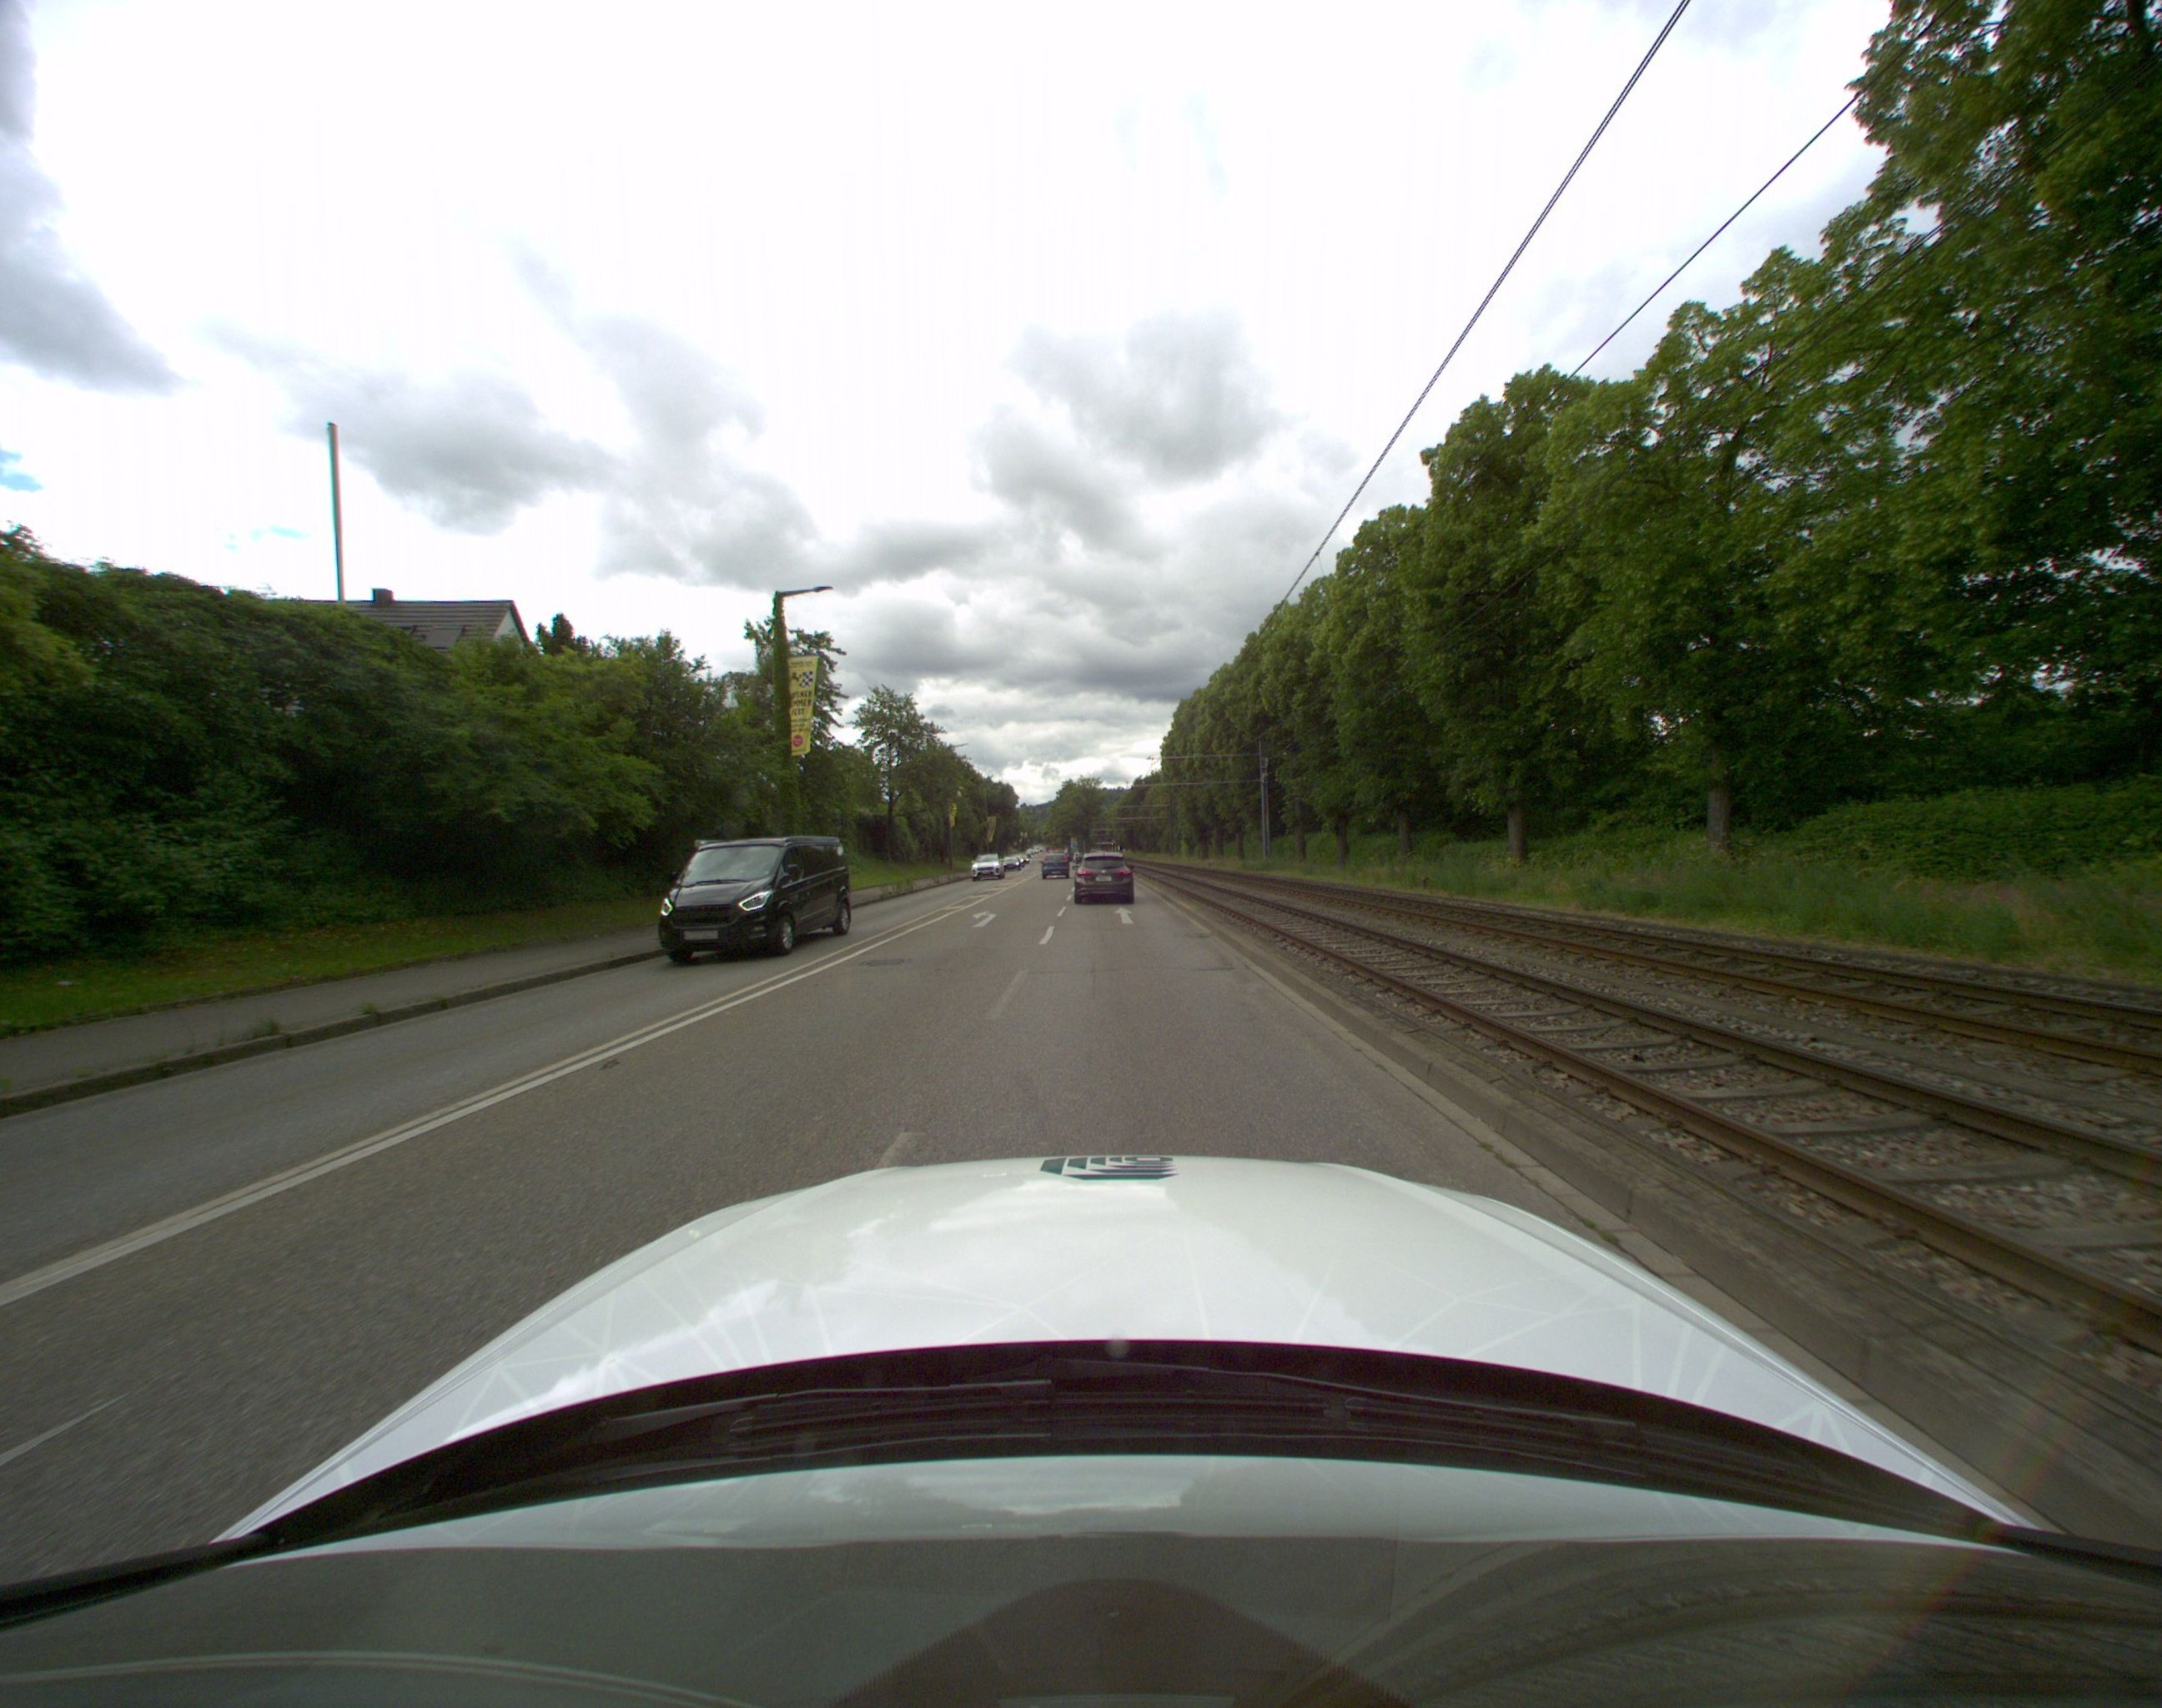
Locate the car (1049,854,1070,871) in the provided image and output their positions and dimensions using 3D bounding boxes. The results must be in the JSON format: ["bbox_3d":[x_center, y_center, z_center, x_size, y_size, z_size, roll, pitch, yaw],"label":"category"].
[{"bbox_3d":[-1.921,0.746,73.245,1.694,1.443,4.000,-1,0,0],"label":"car"}]

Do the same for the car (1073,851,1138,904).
[{"bbox_3d":[0.763,0.677,25.370,1.844,1.493,4.001,-1,0,1],"label":"car"}]

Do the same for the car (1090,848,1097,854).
[{"bbox_3d":[3.416,-0.785,222.265,1.711,1.663,3.704,-1,-1,-2],"label":"car"}]

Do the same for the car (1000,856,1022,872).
[{"bbox_3d":[-6.832,0.928,79.506,1.761,1.400,4.214,-4,0,-1],"label":"car"}]

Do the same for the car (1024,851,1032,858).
[{"bbox_3d":[-13.994,0.179,215.244,1.711,1.760,3.997,-1,-1,-2],"label":"car"}]

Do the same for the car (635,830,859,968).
[{"bbox_3d":[-5.921,0.701,15.301,1.987,2.036,5.114,-4,0,0],"label":"car"}]

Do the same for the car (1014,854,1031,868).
[{"bbox_3d":[-6.931,0.822,96.754,1.821,1.457,4.140,-4,0,-1],"label":"car"}]

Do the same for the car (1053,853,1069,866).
[{"bbox_3d":[-2.293,0.682,95.814,1.710,1.435,3.999,-1,-1,0],"label":"car"}]

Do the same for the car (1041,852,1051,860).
[{"bbox_3d":[-7.059,0.409,165.868,1.693,1.714,4.002,-1,0,2],"label":"car"}]

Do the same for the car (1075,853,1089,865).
[{"bbox_3d":[0.139,0.655,108.669,1.710,1.550,3.999,-1,-1,0],"label":"car"}]

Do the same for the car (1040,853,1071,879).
[{"bbox_3d":[-1.489,0.662,48.521,1.695,1.443,3.998,-1,0,-1],"label":"car"}]

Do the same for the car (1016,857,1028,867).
[{"bbox_3d":[-9.313,1.281,128.530,1.837,1.375,4.442,-4,0,-4],"label":"car"}]

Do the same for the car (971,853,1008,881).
[{"bbox_3d":[-5.844,0.820,52.592,1.836,1.620,4.158,-3,0,0],"label":"car"}]

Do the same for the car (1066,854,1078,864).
[{"bbox_3d":[-1.355,0.795,127.318,1.710,1.550,3.999,-1,-1,0],"label":"car"}]

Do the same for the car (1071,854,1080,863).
[{"bbox_3d":[-0.996,0.833,149.710,1.710,1.550,3.999,-1,-1,0],"label":"car"}]
